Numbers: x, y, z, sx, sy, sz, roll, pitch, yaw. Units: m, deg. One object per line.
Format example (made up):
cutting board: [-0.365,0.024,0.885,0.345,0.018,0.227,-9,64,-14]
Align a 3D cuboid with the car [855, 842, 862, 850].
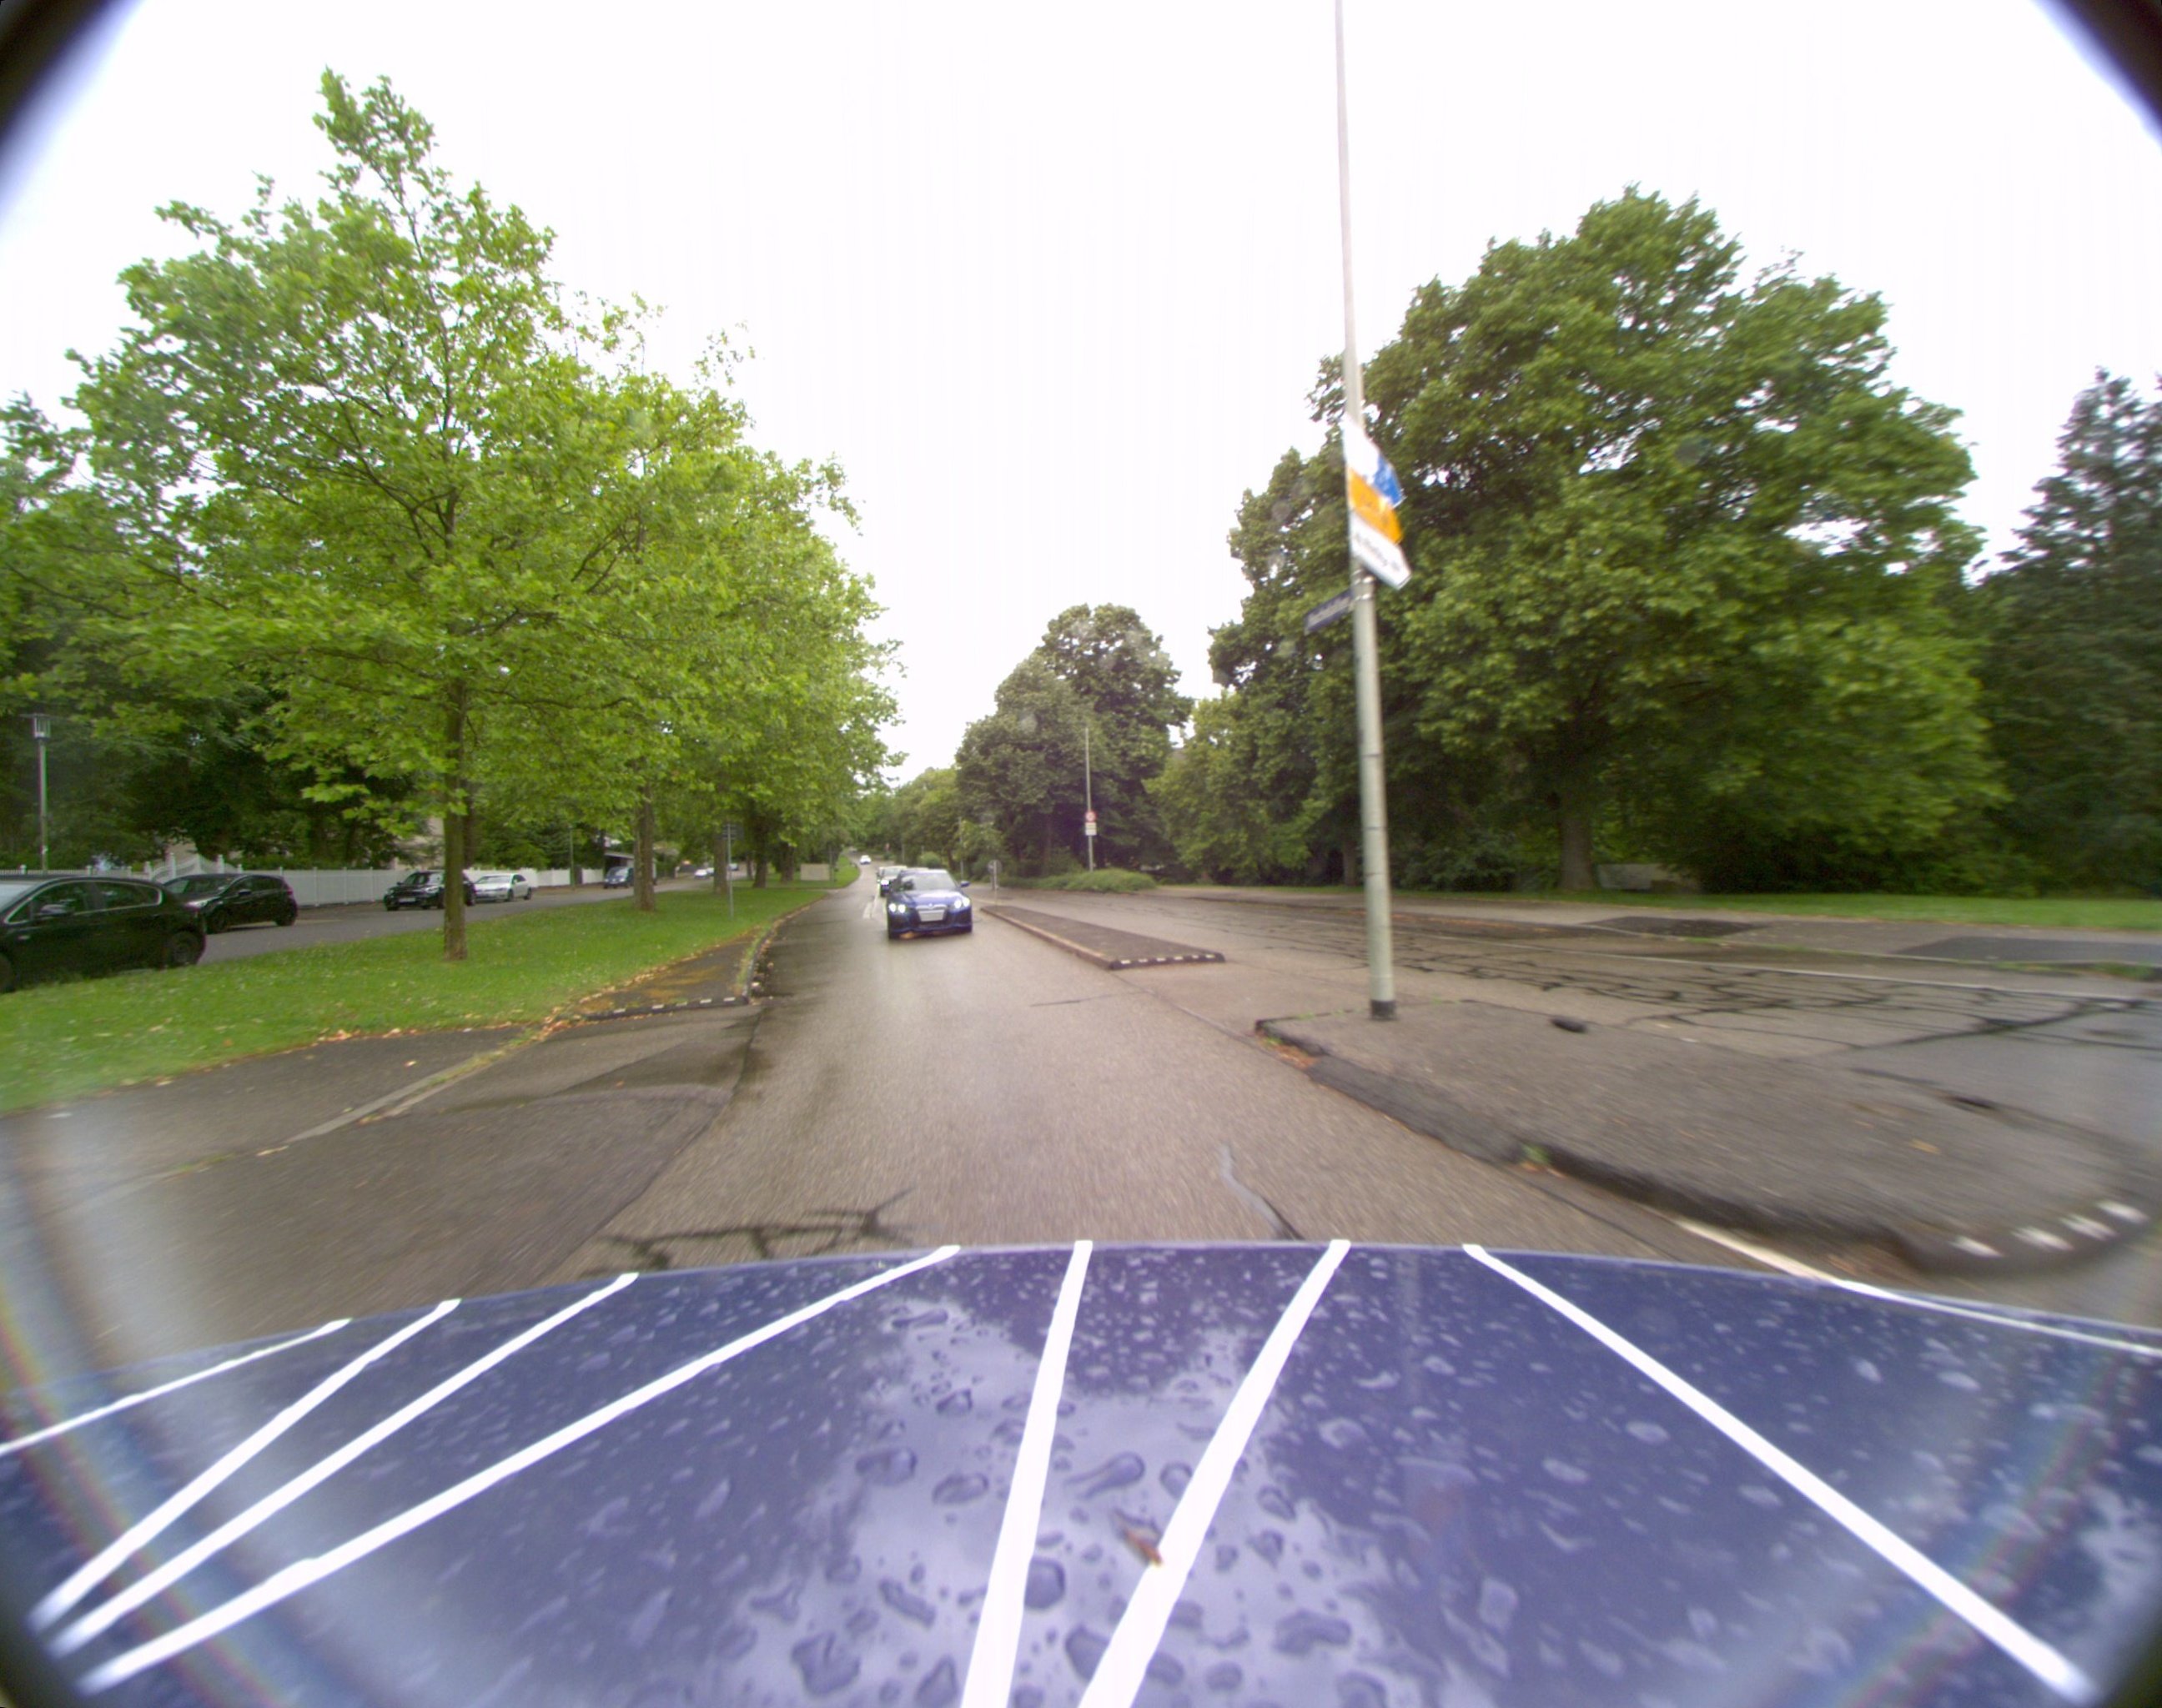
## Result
car: [-62.432,-2.200,213.144,2.001,2.001,4.568,0,-1,-16]

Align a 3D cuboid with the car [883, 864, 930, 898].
car: [-9.106,1.350,39.520,2.034,1.471,4.061,-3,1,-17]

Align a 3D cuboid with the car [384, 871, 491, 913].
car: [-26.749,1.531,31.775,2.001,1.462,4.118,-4,1,-20]

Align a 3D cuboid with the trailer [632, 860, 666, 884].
trailer: [-41.063,1.666,72.343,1.773,2.104,5.184,-4,1,-19]

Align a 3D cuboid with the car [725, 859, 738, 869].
car: [-72.116,1.966,156.930,2.002,2.002,3.994,-1,0,-18]

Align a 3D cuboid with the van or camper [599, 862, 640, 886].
van or camper: [-38.250,1.610,63.134,2.002,1.798,4.767,-4,1,-21]

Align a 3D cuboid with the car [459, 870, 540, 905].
car: [-29.428,1.649,38.608,2.001,1.440,4.118,-4,1,-20]

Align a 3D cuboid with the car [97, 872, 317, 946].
car: [-22.714,1.334,20.048,1.767,1.463,4.349,-6,2,-20]

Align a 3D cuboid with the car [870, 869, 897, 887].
car: [-19.156,2.272,73.804,1.827,1.471,4.064,-3,1,-6]

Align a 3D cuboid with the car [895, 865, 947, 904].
car: [-7.131,1.291,33.652,1.828,1.471,4.061,-4,1,-17]

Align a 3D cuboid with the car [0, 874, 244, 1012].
car: [-13.257,1.040,9.394,1.771,1.462,4.591,0,0,-17]

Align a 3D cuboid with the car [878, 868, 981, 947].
car: [-3.663,1.141,17.850,1.828,1.471,4.061,-4,1,-18]

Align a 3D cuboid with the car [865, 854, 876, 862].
car: [-42.926,0.797,155.268,1.827,1.471,4.063,-3,1,-11]

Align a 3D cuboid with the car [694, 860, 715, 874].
car: [-55.345,1.850,111.749,2.001,2.002,3.994,-1,0,-17]

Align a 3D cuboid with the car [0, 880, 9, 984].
car: [-15.557,1.114,8.464,1.853,1.462,4.419,-1,0,-18]
